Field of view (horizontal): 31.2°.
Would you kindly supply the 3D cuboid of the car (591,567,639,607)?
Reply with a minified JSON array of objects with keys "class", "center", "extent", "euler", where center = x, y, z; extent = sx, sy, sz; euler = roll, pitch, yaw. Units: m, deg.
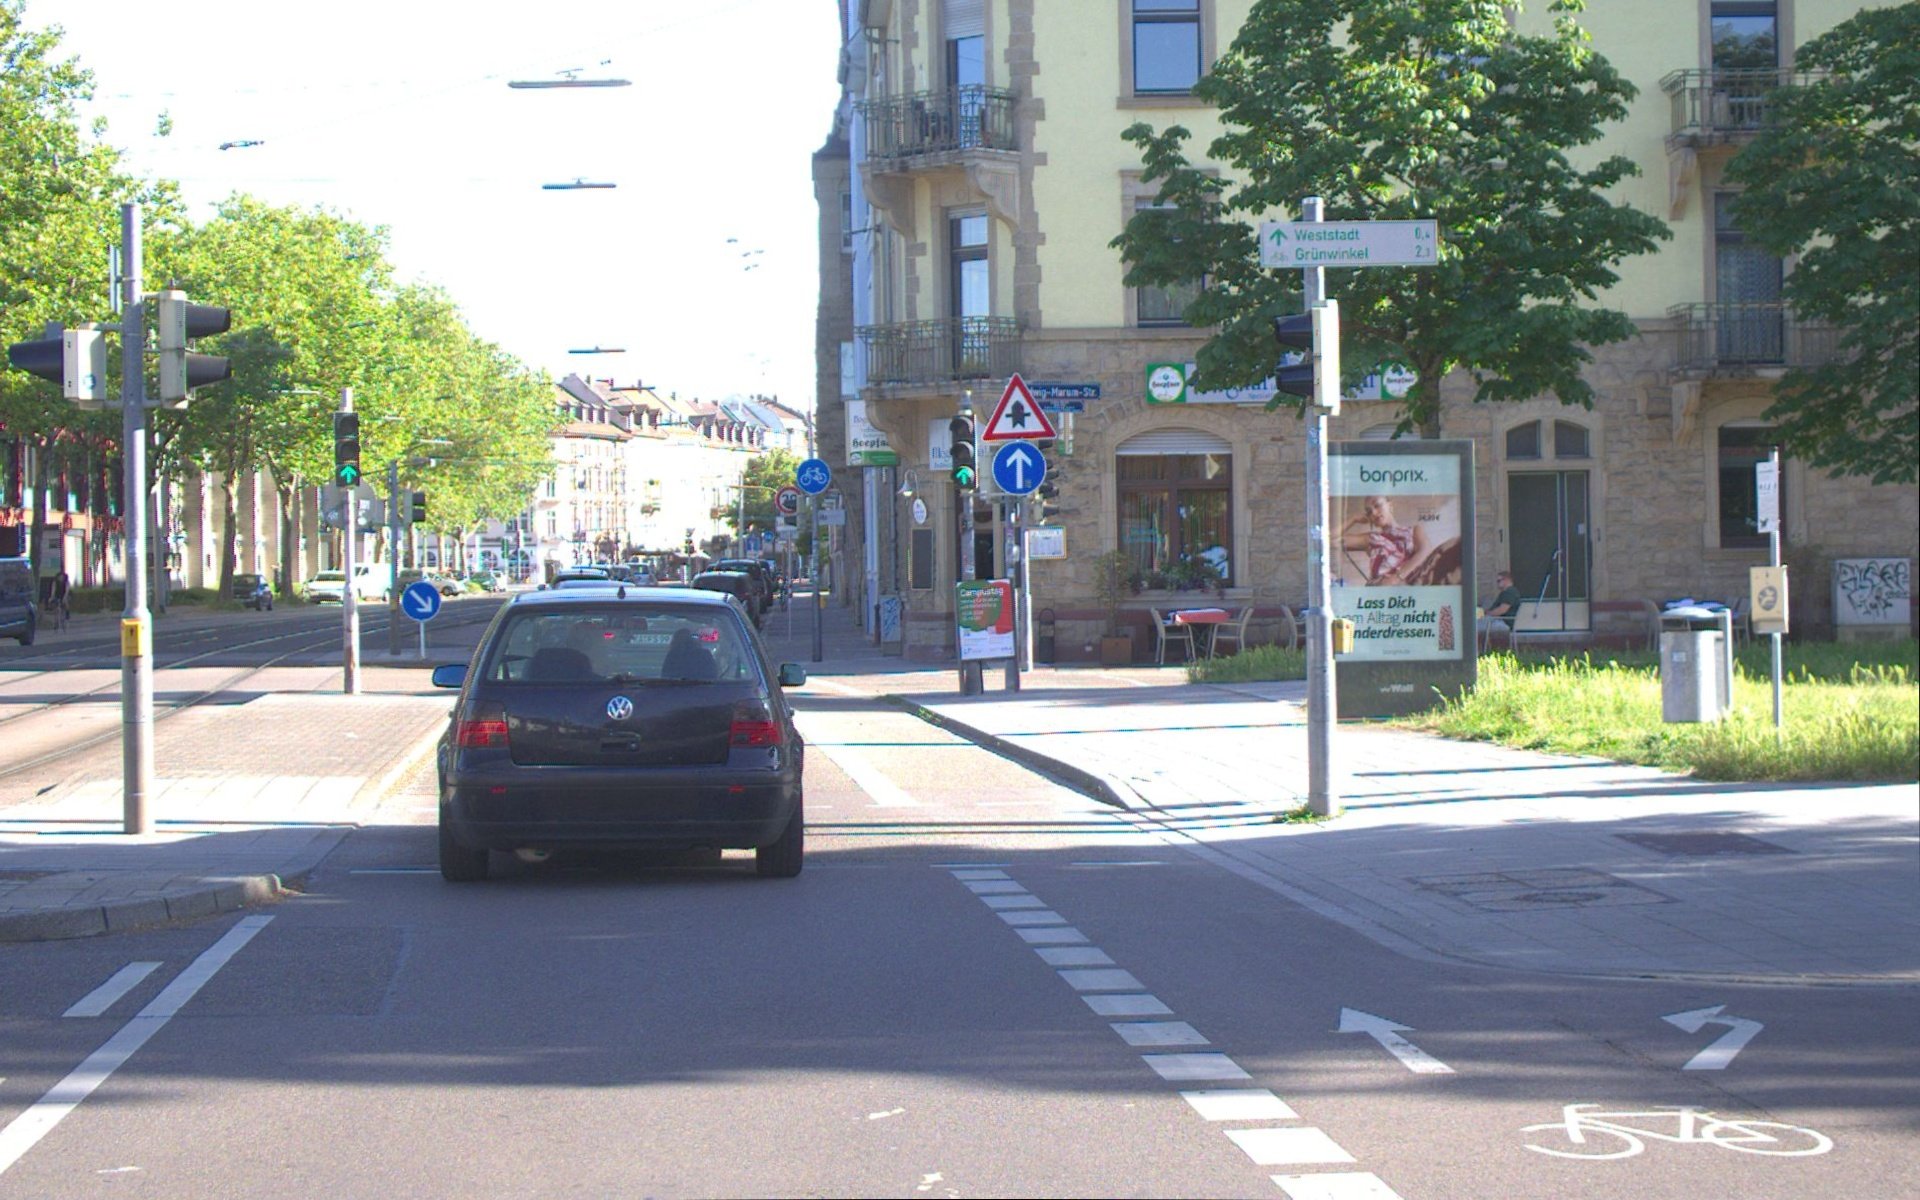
[{"class":"car","center":[-13.155,-0.507,131.176],"extent":[1.636,1.467,3.730],"euler":[-1,1,-3]}]

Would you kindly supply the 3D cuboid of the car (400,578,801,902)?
[{"class":"car","center":[-1.733,0.604,17.244],"extent":[1.748,1.370,4.001],"euler":[-1,1,-4]}]

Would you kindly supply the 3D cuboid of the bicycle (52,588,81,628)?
[{"class":"bicycle","center":[-24.443,0.210,94.041],"extent":[0.644,1.039,1.926],"euler":[1,1,-11]}]

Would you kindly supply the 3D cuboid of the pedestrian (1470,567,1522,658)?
[{"class":"pedestrian","center":[8.103,0.188,51.969],"extent":[0.638,1.355,0.702],"euler":[1,1,-2]}]

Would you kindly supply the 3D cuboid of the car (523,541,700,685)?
[{"class":"car","center":[-3.924,0.117,39.242],"extent":[1.748,1.532,3.892],"euler":[-1,1,-2]}]

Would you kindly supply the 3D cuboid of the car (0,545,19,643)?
[{"class":"car","center":[-21.225,-0.080,72.430],"extent":[2.019,2.006,5.252],"euler":[-2,2,-9]}]

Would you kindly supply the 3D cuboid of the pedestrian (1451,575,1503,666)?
[{"class":"pedestrian","center":[7.815,0.307,51.995],"extent":[0.638,1.355,0.702],"euler":[1,1,-2]}]

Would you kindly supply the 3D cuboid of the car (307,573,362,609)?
[{"class":"car","center":[-29.315,-0.433,161.251],"extent":[2.011,1.567,4.694],"euler":[1,1,-4]}]

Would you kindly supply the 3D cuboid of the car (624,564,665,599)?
[{"class":"car","center":[-13.865,-0.831,151.143],"extent":[1.636,1.467,3.730],"euler":[-1,1,-3]}]

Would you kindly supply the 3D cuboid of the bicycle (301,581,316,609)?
[{"class":"bicycle","center":[-29.494,-0.226,155.666],"extent":[0.581,1.205,1.654],"euler":[1,1,-9]}]

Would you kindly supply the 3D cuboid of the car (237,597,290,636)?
[{"class":"car","center":[-27.759,0.660,137.134],"extent":[1.507,1.449,3.463],"euler":[-2,-1,-3]}]

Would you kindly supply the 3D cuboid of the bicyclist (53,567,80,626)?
[{"class":"bicyclist","center":[-24.427,-0.103,94.005],"extent":[0.644,1.606,0.781],"euler":[1,1,-11]}]

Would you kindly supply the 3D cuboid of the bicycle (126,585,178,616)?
[{"class":"bicycle","center":[-33.655,0.023,143.203],"extent":[2.008,1.274,0.664],"euler":[1,1,-2]}]

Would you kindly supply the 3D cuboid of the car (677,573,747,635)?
[{"class":"car","center":[-6.039,0.087,84.036],"extent":[1.655,1.477,4.000],"euler":[0,0,-3]}]
